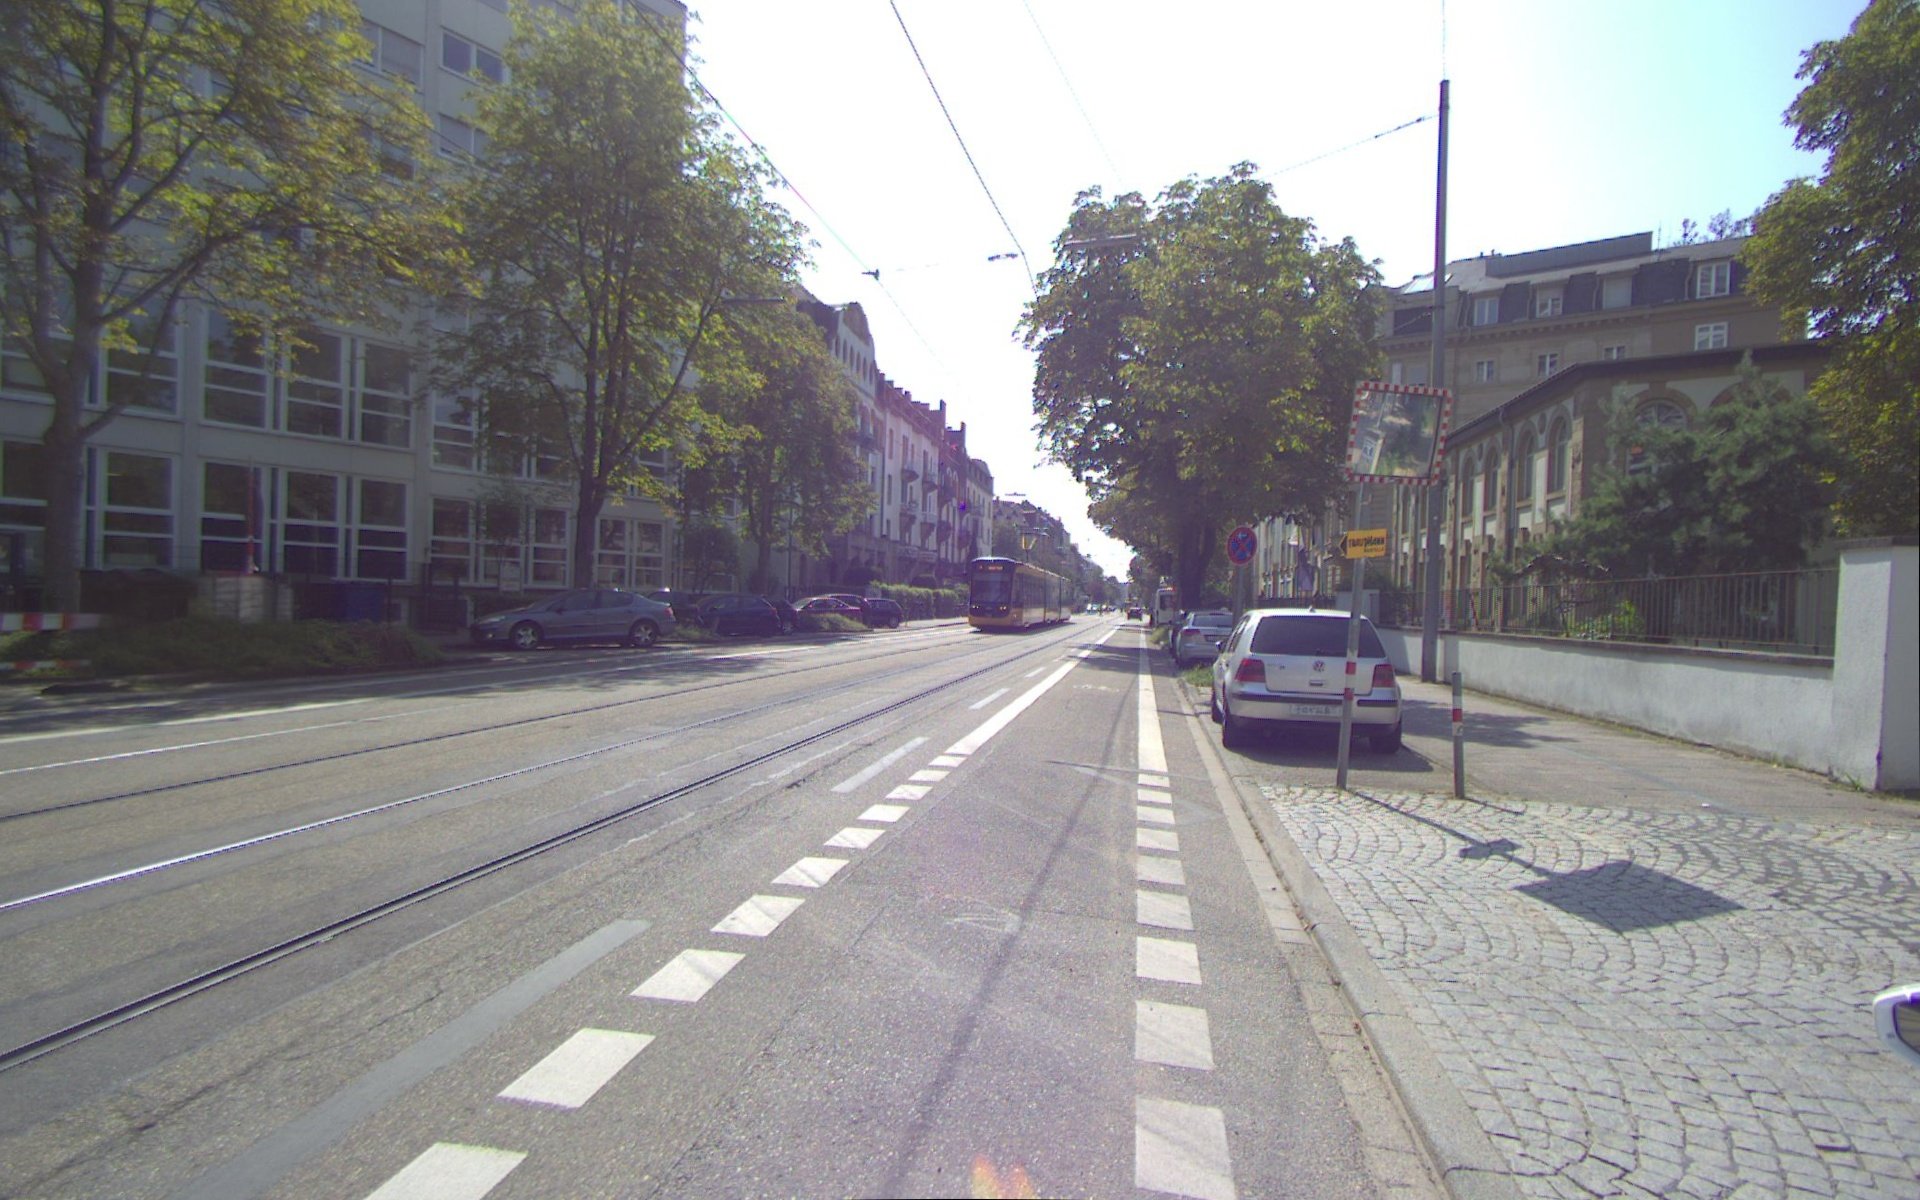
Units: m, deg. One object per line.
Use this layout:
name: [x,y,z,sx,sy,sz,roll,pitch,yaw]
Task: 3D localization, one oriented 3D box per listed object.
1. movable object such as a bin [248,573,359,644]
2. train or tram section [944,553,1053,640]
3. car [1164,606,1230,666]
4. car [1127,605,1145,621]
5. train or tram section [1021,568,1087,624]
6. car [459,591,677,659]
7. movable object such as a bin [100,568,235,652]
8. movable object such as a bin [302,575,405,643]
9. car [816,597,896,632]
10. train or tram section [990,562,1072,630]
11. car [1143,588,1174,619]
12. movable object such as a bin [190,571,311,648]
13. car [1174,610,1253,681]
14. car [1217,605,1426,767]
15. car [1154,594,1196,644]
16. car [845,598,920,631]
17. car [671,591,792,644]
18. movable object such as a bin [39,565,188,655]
movable object such as a bin: [-15.211,0.190,23.307,1.654,1.580,1.355,1,0,10]
train or tram section: [2.248,-0.203,51.108,3.437,3.754,12.418,2,1,12]
car: [7.095,1.028,30.274,1.763,1.598,4.002,2,0,12]
car: [20.796,1.505,118.308,1.959,1.825,4.002,3,0,11]
train or tram section: [7.238,-0.312,75.456,3.437,3.754,12.418,2,1,12]
car: [-9.347,0.557,24.161,4.643,1.471,1.659,0,1,-36]
movable object such as a bin: [-15.879,0.193,20.171,1.654,1.580,1.355,1,0,10]
movable object such as a bin: [-14.919,0.211,24.755,1.654,1.580,1.355,1,0,10]
car: [-5.170,0.727,49.819,3.546,1.595,1.663,2,0,-31]
train or tram section: [4.731,-0.243,63.291,3.437,3.754,12.418,2,1,12]
car: [15.527,0.265,78.657,1.959,2.263,4.002,2,0,6]
movable object such as a bin: [-15.324,0.196,21.744,1.654,1.580,1.355,1,0,10]
car: [6.137,1.039,24.631,1.613,1.531,3.643,2,0,11]
car: [3.830,0.801,11.232,1.761,1.465,3.735,1,0,13]
car: [11.094,0.969,52.013,1.959,2.397,4.002,3,0,11]
car: [-4.098,0.776,53.032,3.546,1.595,1.663,2,0,-31]
car: [-7.602,0.593,33.478,3.546,1.595,1.663,2,0,-31]
movable object such as a bin: [-15.706,0.180,18.676,1.654,1.580,1.355,1,0,10]
